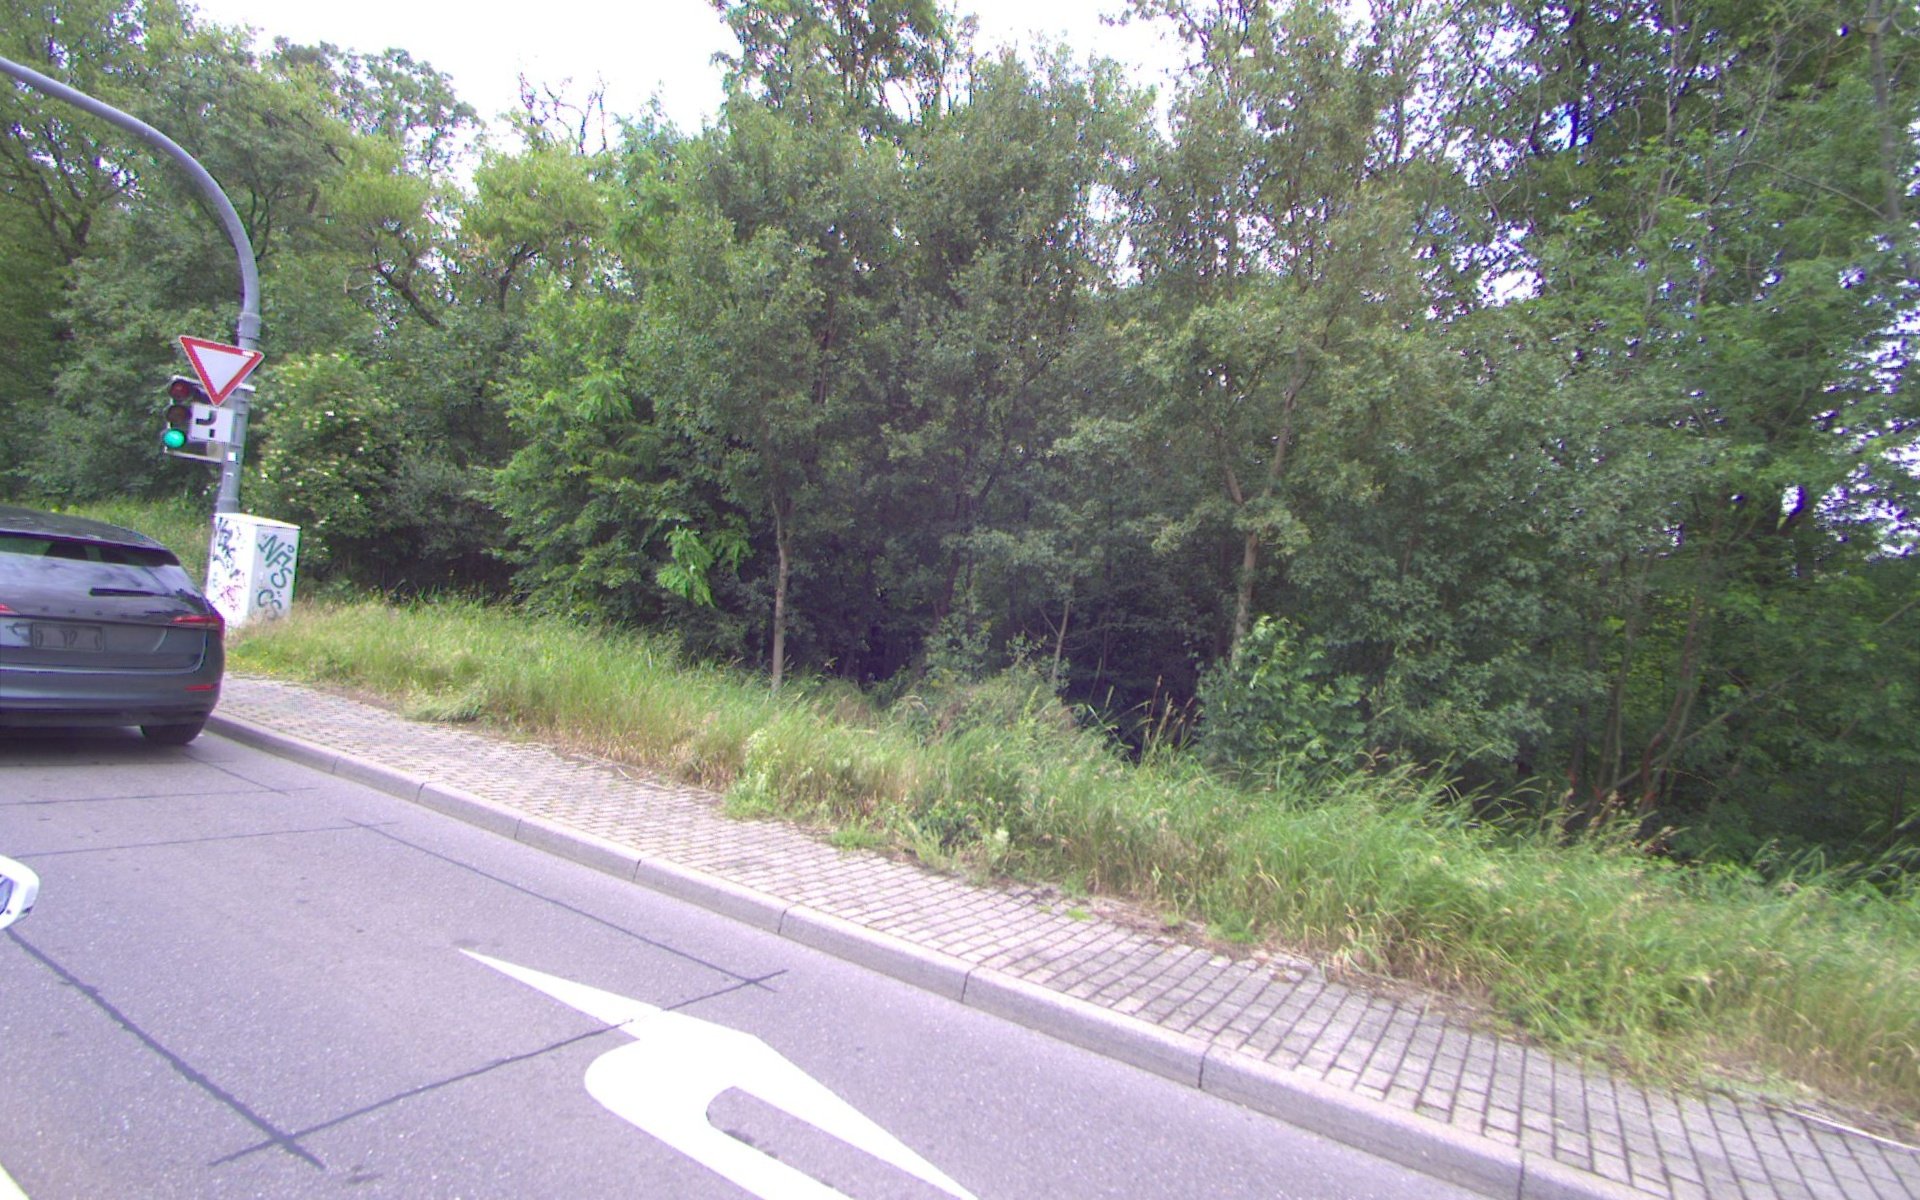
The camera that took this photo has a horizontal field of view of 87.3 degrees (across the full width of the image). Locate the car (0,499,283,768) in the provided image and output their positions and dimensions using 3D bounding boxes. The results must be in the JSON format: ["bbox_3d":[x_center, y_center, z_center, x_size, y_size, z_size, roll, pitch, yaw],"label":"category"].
[{"bbox_3d":[-6.691,0.037,6.897,3.933,1.468,1.796,7,-1,31],"label":"car"}]

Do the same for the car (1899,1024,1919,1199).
[{"bbox_3d":[3.327,1.190,0.558,3.792,1.474,1.728,7,-2,33],"label":"car"}]
